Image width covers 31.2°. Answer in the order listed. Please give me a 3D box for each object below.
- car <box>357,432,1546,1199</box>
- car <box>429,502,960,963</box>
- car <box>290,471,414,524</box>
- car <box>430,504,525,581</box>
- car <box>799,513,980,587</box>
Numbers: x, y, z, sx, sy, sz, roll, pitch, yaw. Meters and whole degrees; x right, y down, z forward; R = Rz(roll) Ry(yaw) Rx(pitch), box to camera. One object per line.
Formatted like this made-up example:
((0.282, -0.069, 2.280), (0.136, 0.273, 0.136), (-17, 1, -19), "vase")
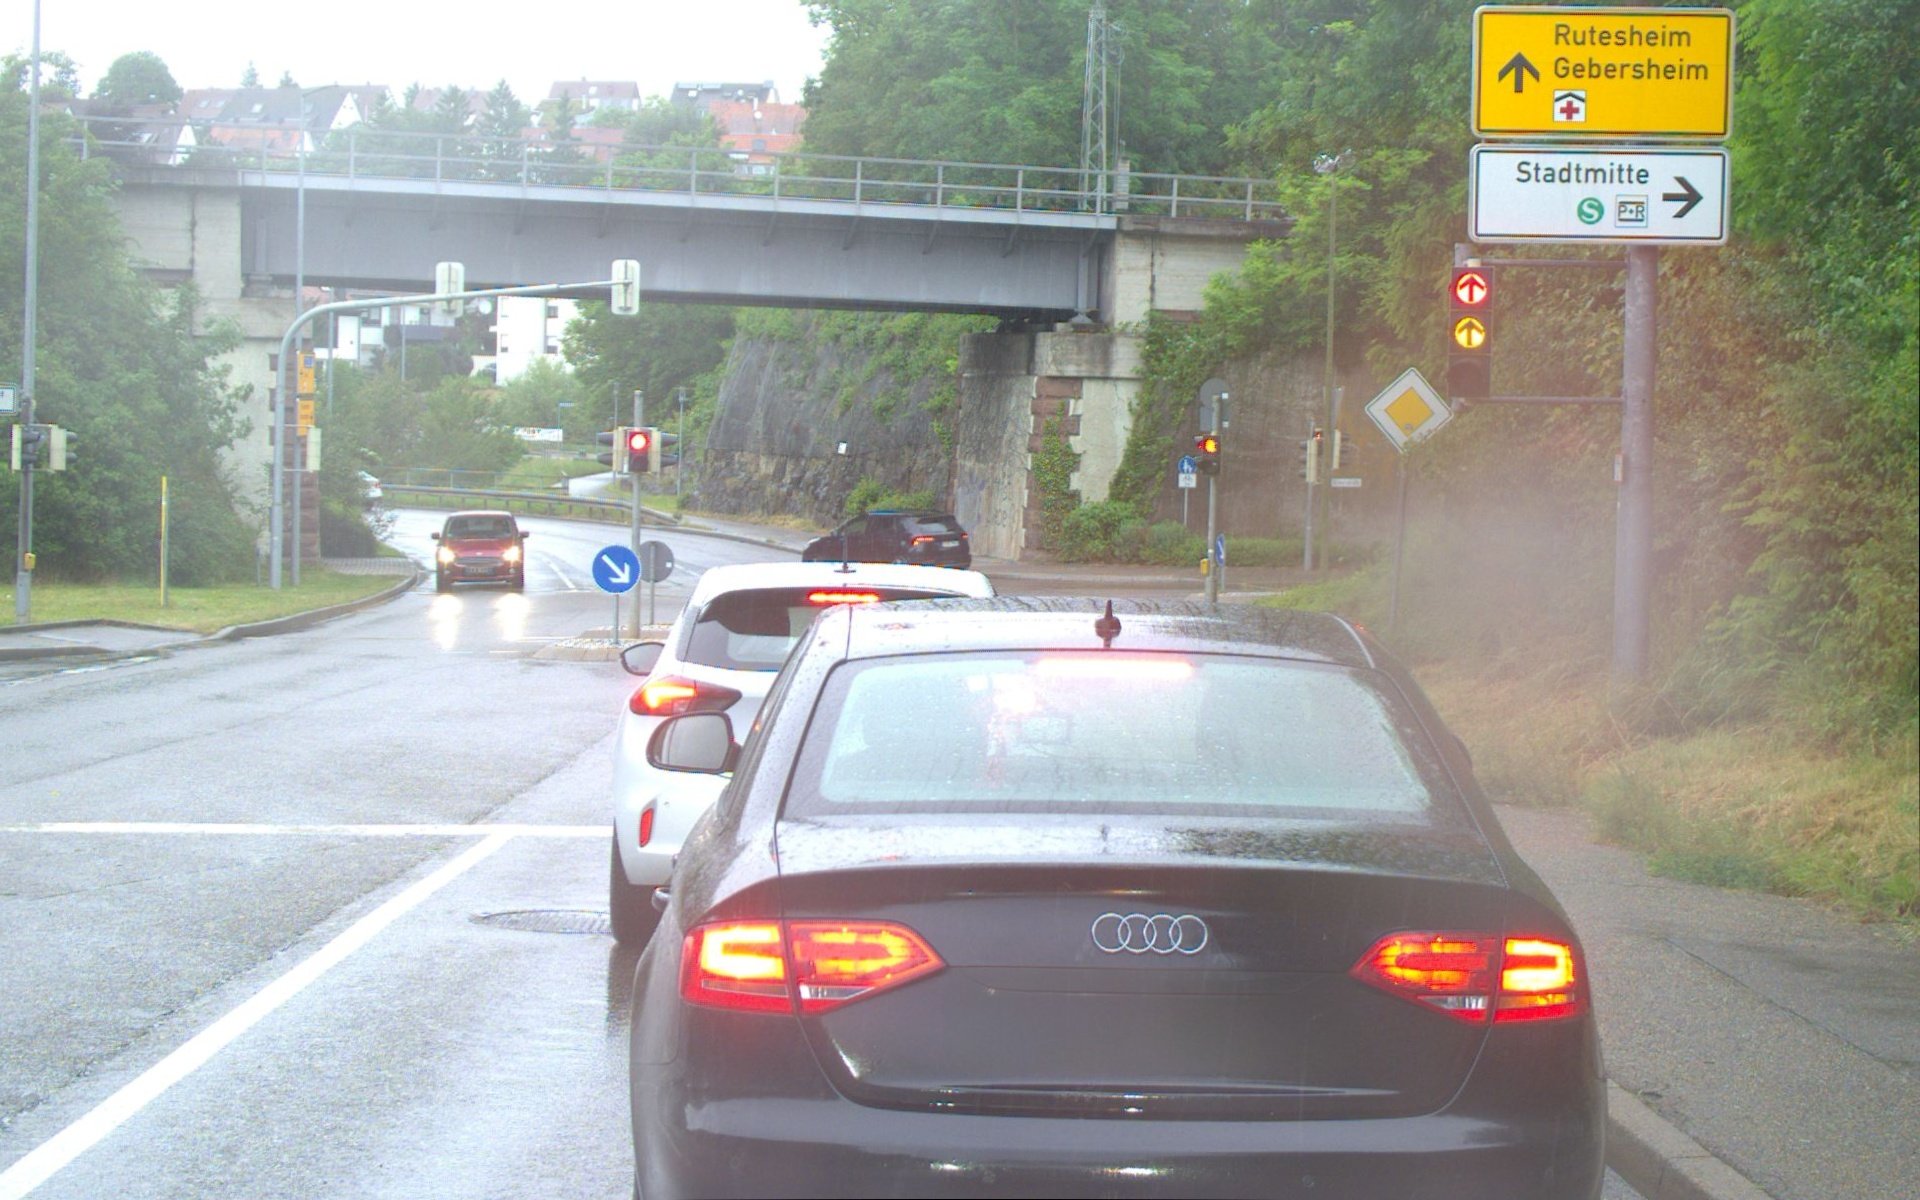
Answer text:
((-0.039, 0.551, 7.434), (1.870, 1.611, 4.000), (1, 0, -1), "car")
((-0.947, 0.462, 13.913), (1.823, 1.579, 4.000), (1, 0, -1), "car")
((-21.454, -3.600, 121.267), (4.476, 1.736, 1.806), (0, 0, 39), "car")
((-10.485, -1.260, 74.903), (1.993, 1.622, 4.001), (0, 1, -7), "car")
((-1.599, -1.121, 76.751), (1.994, 1.590, 3.999), (-1, 2, -39), "car")
